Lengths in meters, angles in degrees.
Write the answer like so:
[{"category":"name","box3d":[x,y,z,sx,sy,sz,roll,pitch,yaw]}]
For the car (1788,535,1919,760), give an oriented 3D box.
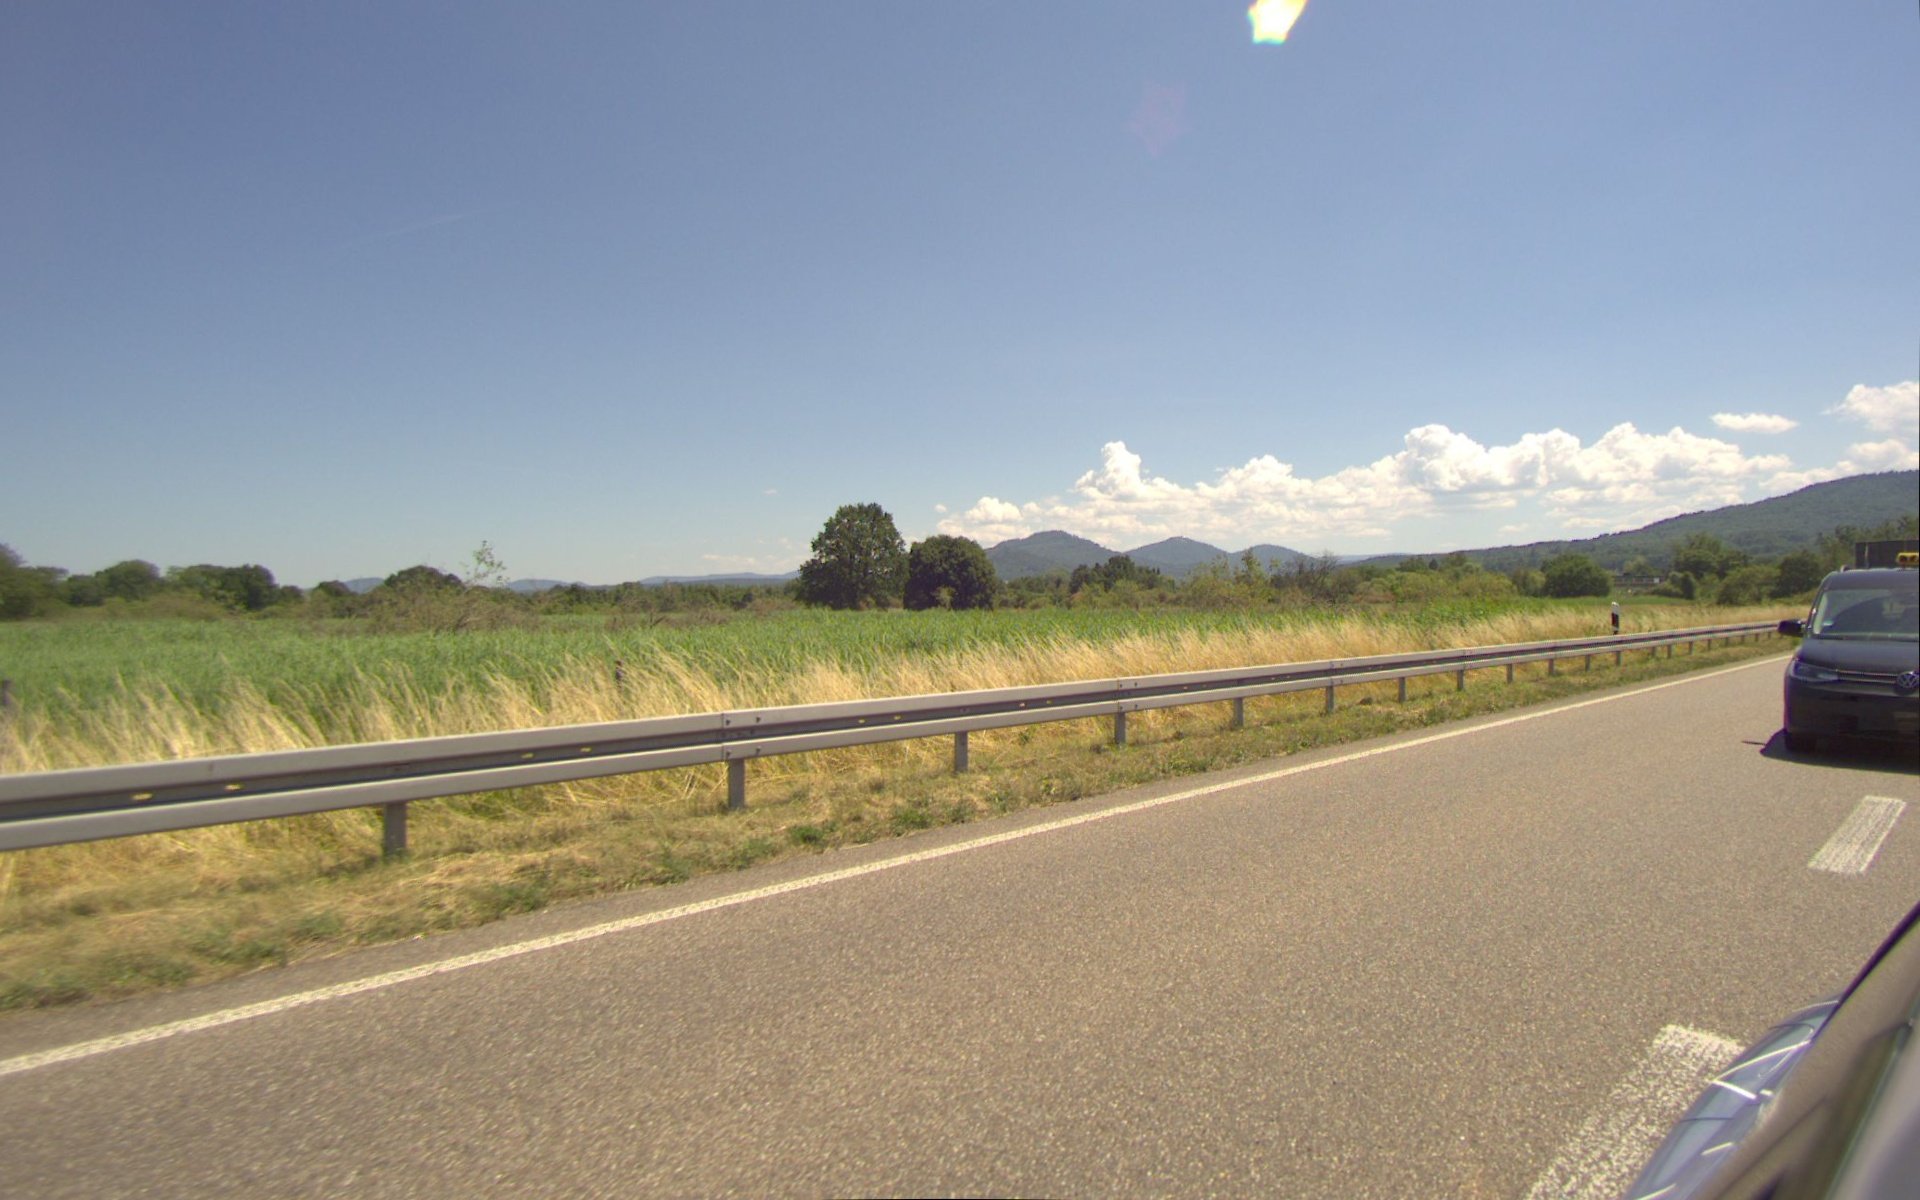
[{"category":"car","box3d":[10.141,0.397,10.492,5.482,1.911,1.855,0,0,-45]}]
